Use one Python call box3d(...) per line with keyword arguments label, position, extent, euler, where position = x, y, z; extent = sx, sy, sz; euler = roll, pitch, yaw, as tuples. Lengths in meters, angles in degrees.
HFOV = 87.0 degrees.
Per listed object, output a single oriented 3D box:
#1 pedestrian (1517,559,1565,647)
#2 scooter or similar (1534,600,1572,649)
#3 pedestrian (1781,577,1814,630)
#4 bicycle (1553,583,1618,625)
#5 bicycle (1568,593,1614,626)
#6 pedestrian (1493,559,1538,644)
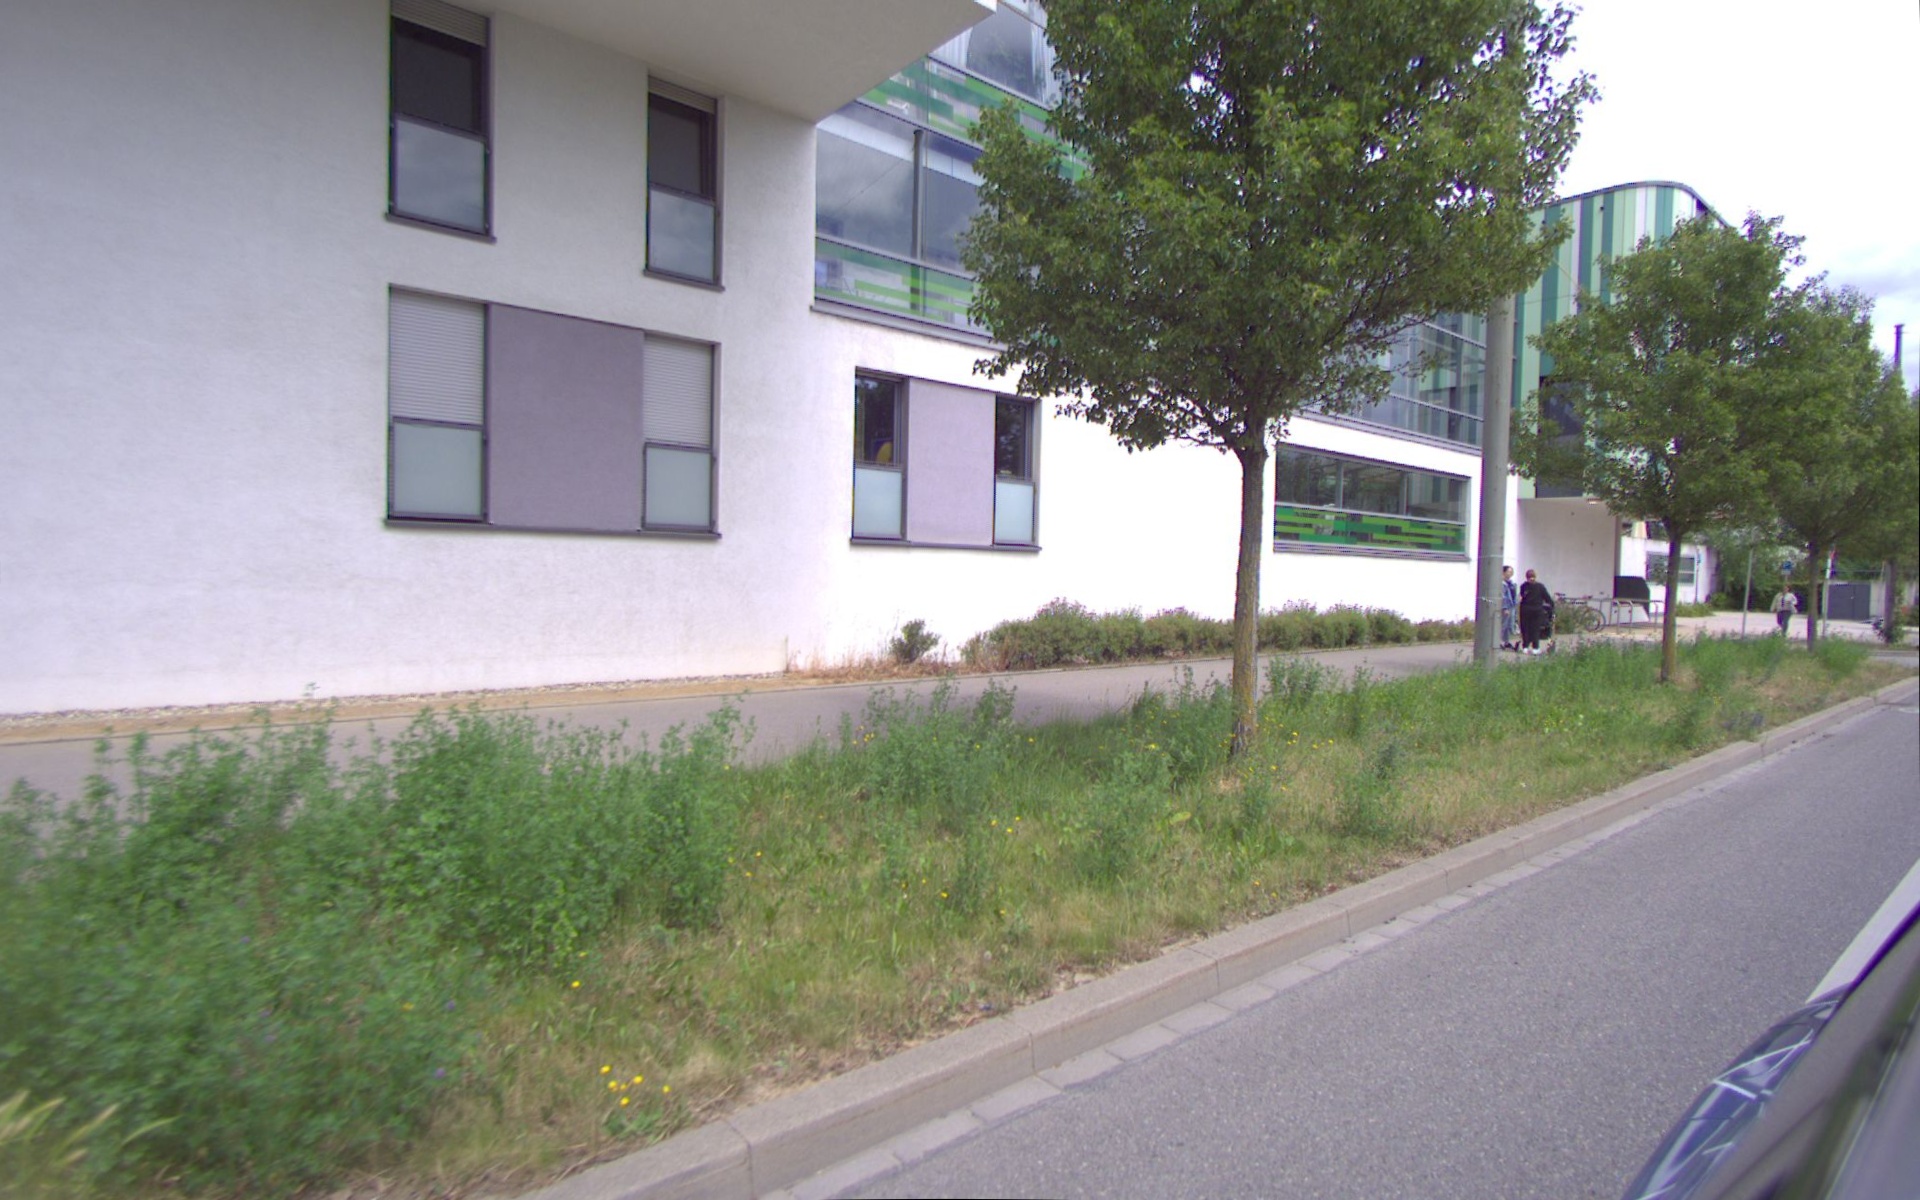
box3d(label="pedestrian", position=(11.272, 0.047, 19.637), extent=(0.542, 1.675, 0.606), euler=(0, 2, -41))
box3d(label="scooter or similar", position=(11.648, 0.467, 19.867), extent=(0.670, 0.916, 0.422), euler=(0, 2, -41))
box3d(label="pedestrian", position=(25.196, 0.101, 30.451), extent=(0.853, 1.570, 0.582), euler=(0, 3, -41))
box3d(label="bicycle", position=(17.231, 0.092, 27.897), extent=(1.462, 1.058, 0.303), euler=(4, 3, 38))
box3d(label="bicycle", position=(17.891, 0.267, 28.700), extent=(1.011, 0.852, 0.305), euler=(3, 2, 18))
box3d(label="pedestrian", position=(11.177, 0.019, 20.358), extent=(0.596, 1.675, 0.551), euler=(0, 2, -41))
